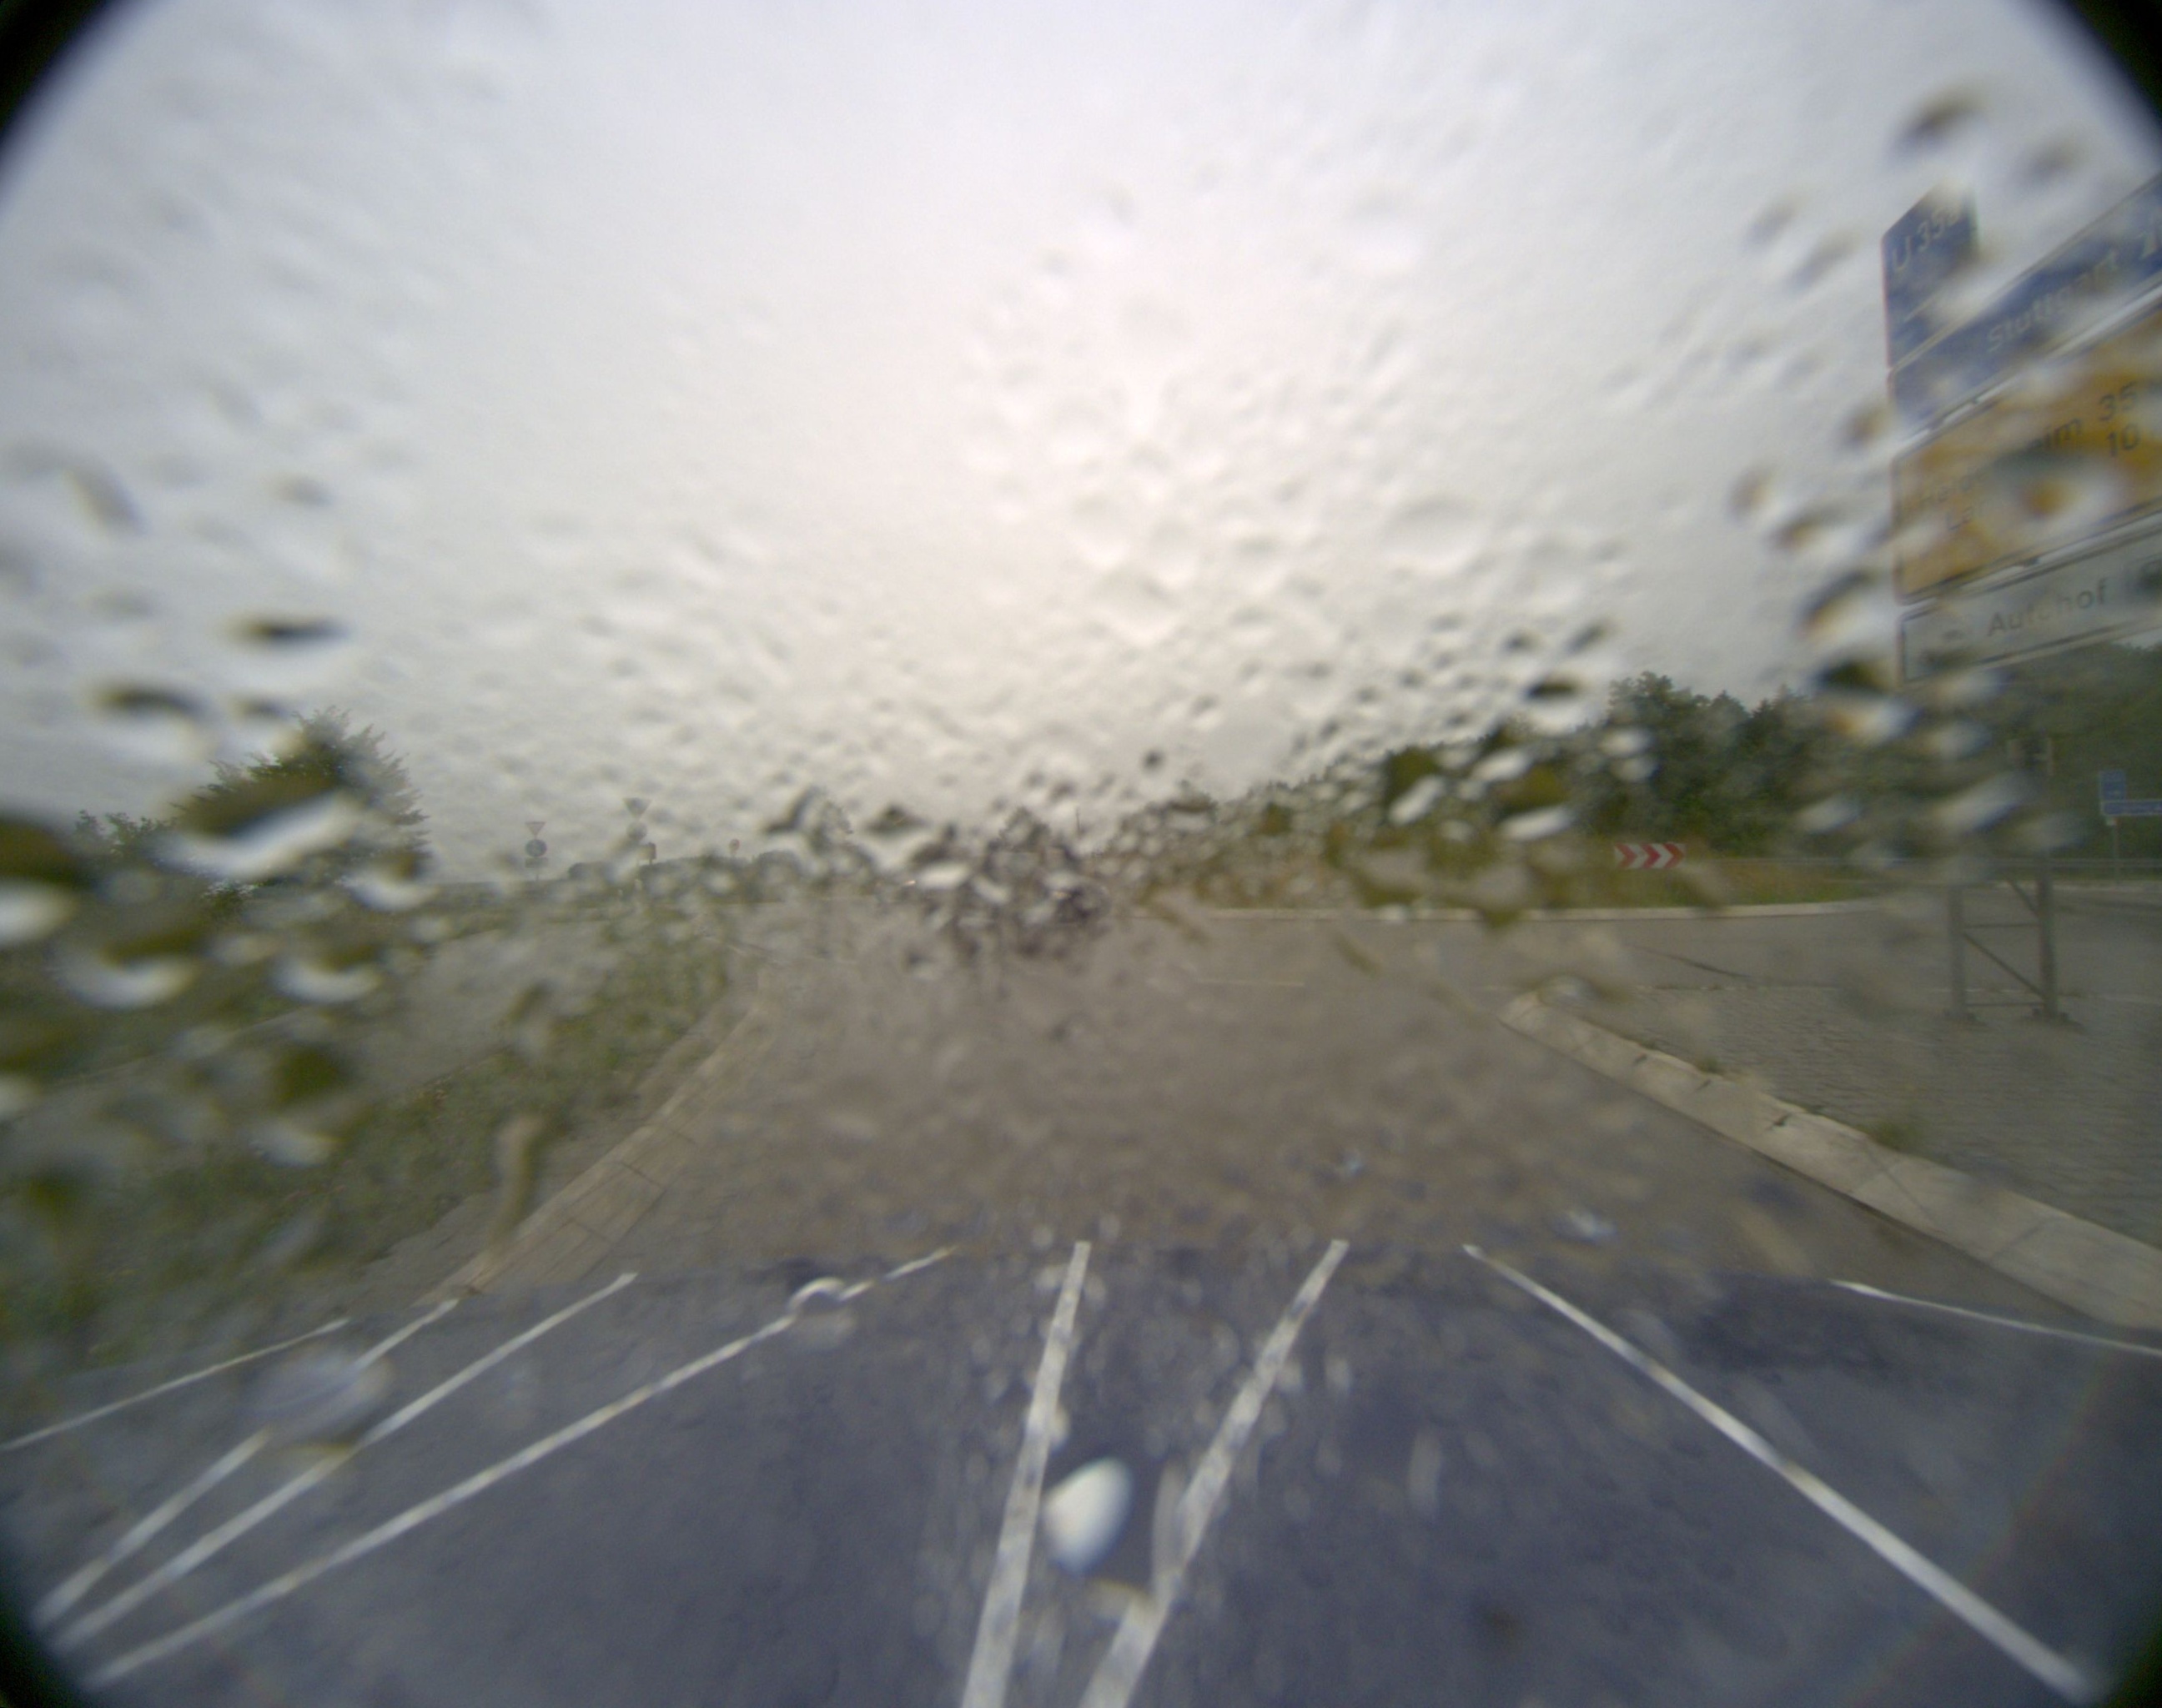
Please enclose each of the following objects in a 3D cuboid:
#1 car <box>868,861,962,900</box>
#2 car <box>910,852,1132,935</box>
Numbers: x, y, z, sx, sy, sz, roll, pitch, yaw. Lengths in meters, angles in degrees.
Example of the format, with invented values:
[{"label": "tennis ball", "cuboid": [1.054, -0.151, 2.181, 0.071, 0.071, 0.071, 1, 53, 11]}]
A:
[{"label": "car", "cuboid": [-6.214, 1.006, 29.002, 1.947, 1.363, 4.508, -1, -2, 9]}, {"label": "car", "cuboid": [-1.329, 0.751, 15.238, 4.491, 1.412, 1.878, -3, -1, 44]}]
